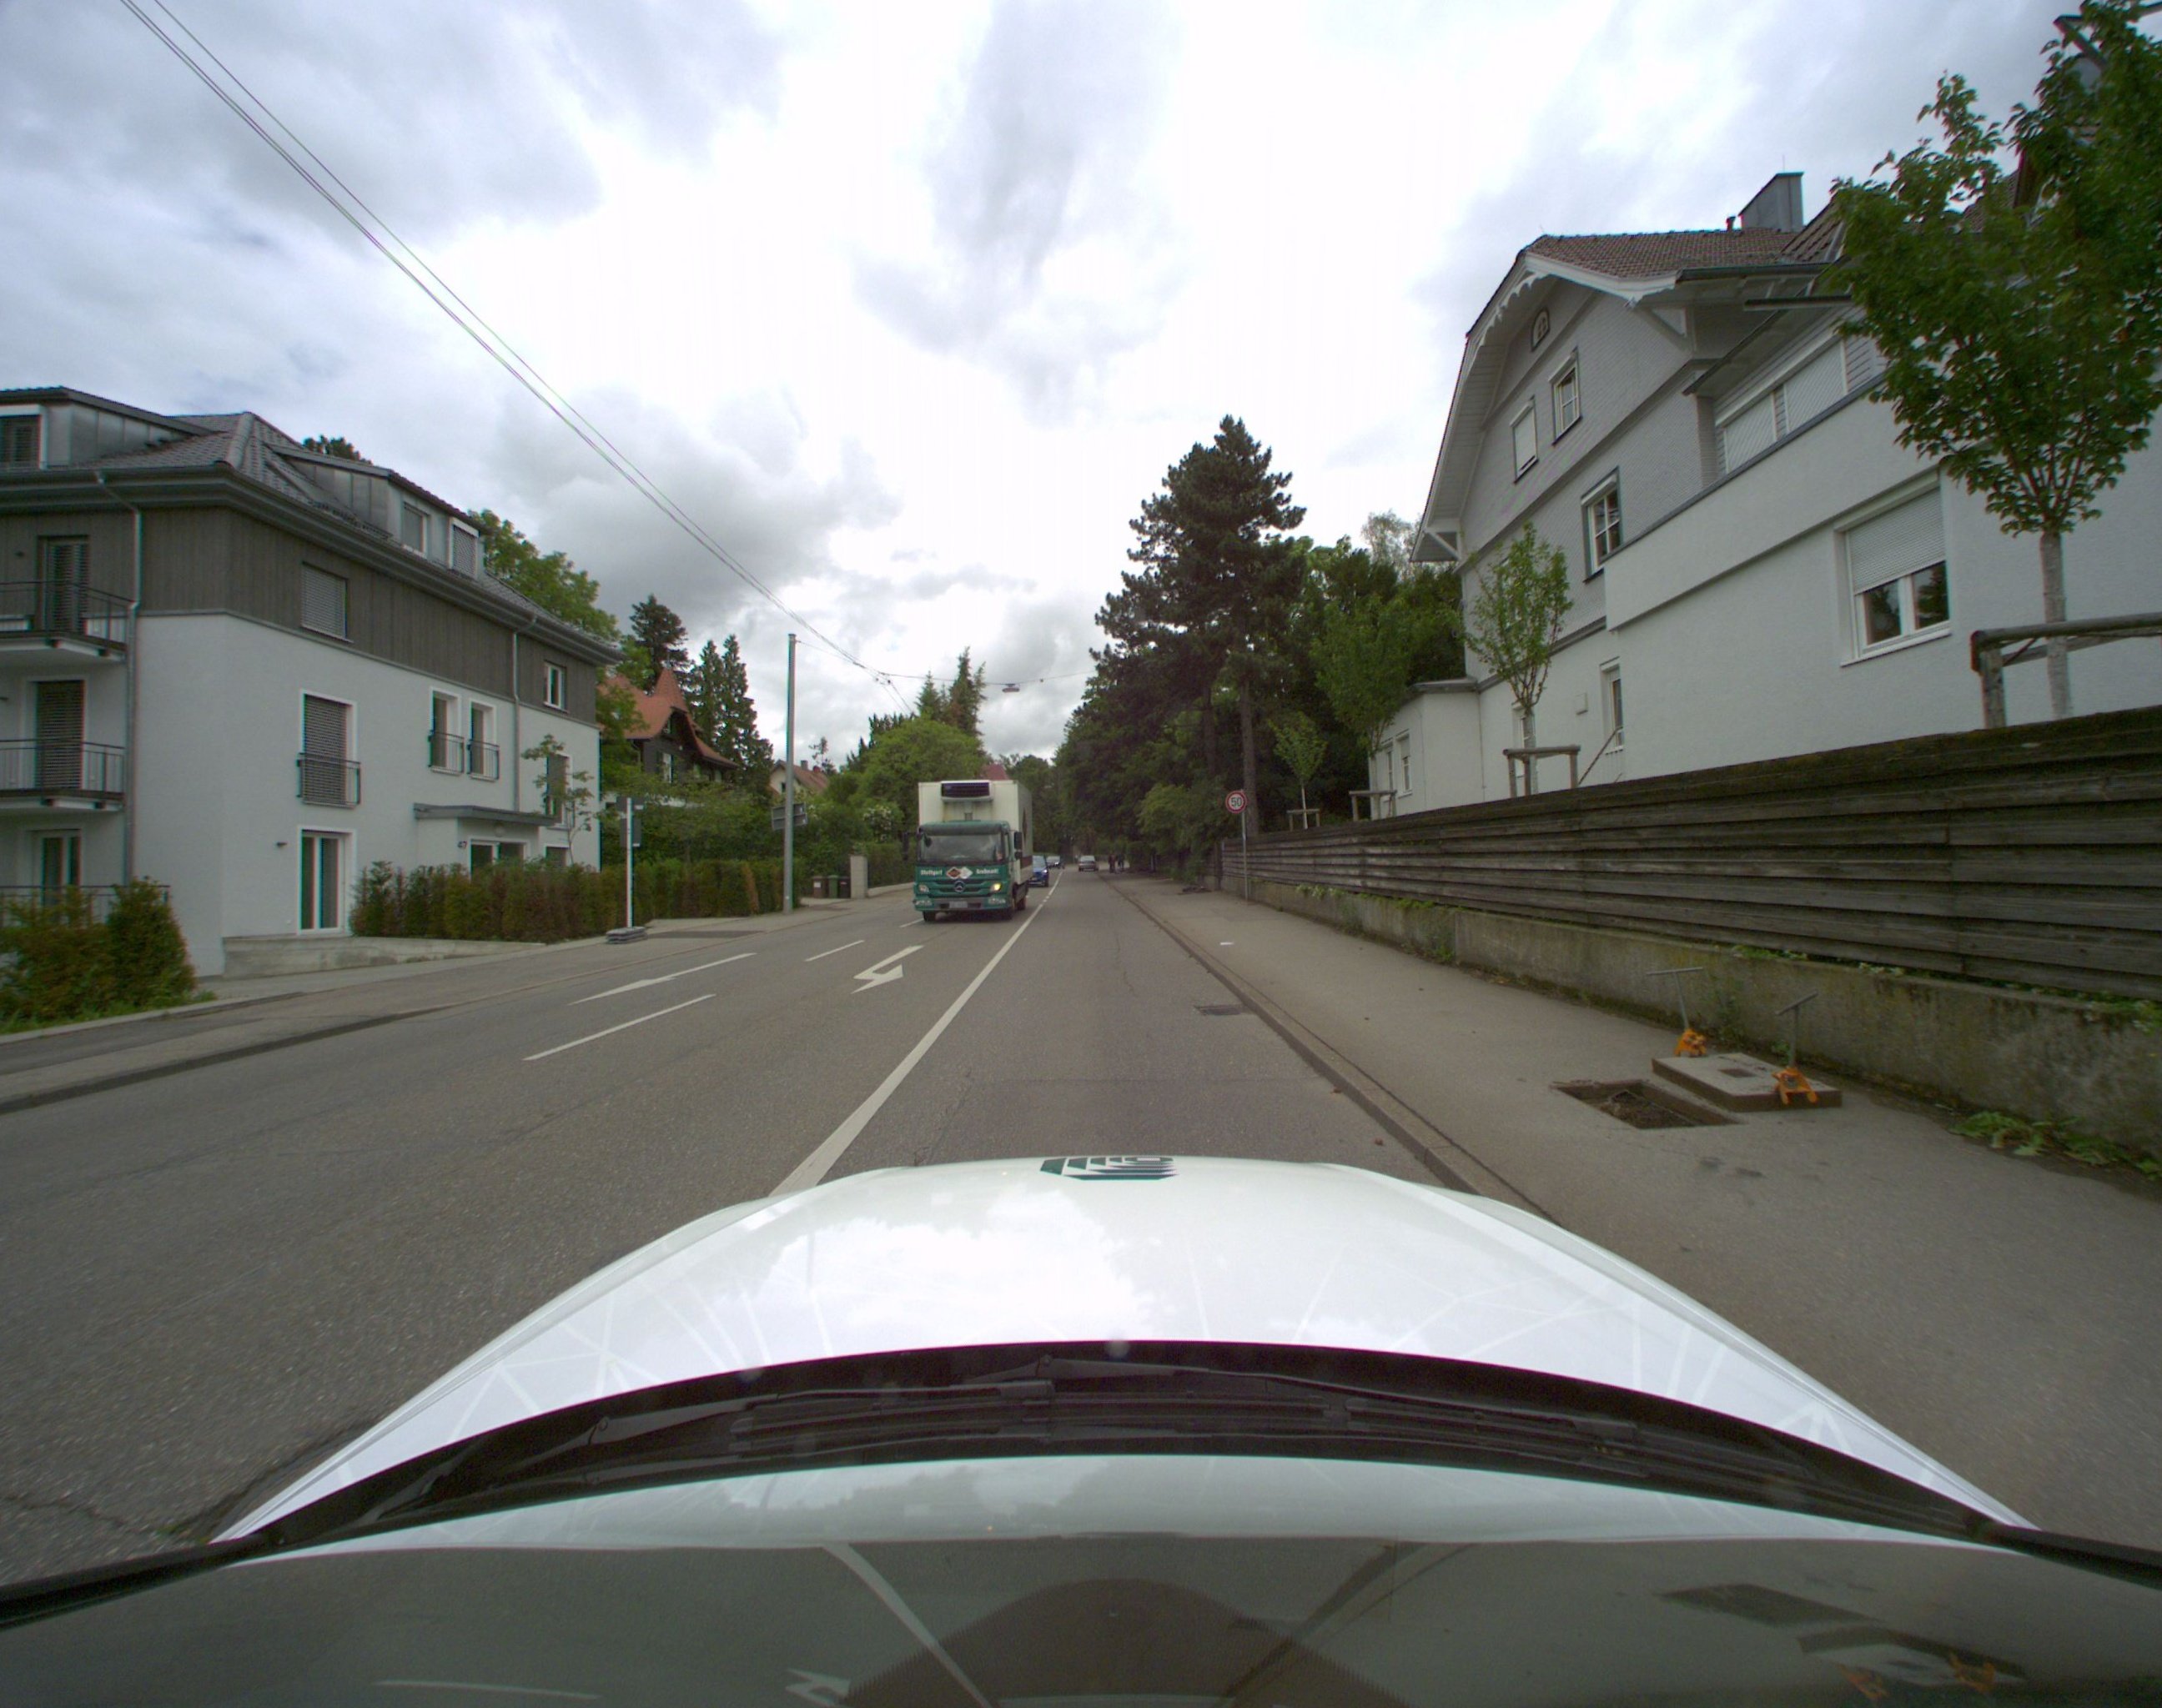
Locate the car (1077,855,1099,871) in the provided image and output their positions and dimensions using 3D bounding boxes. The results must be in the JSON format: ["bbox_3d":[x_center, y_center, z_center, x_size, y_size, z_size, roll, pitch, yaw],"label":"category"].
[{"bbox_3d":[0.710,0.871,78.196,1.788,1.415,4.341,-1,-1,5],"label":"car"}]

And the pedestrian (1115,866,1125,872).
[{"bbox_3d":[2.996,1.141,62.271,0.670,0.393,0.740,-2,0,-1],"label":"pedestrian"}]

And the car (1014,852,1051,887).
[{"bbox_3d":[-2.693,0.827,44.167,1.803,1.717,4.370,-3,0,-5],"label":"car"}]

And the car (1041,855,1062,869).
[{"bbox_3d":[-3.104,0.834,86.112,1.672,1.471,4.025,-2,0,6],"label":"car"}]

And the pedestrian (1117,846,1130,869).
[{"bbox_3d":[3.425,0.296,65.602,0.695,1.807,0.665,-1,-1,-42],"label":"pedestrian"}]

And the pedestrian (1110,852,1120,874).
[{"bbox_3d":[2.725,0.718,65.468,0.594,1.807,0.522,-2,-1,40],"label":"pedestrian"}]

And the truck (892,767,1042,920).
[{"bbox_3d":[-2.819,-0.165,22.542,2.767,3.461,7.496,-2,-1,2],"label":"truck"}]

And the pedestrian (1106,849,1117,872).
[{"bbox_3d":[2.432,0.534,64.389,0.804,1.807,0.740,-2,0,-1],"label":"pedestrian"}]
